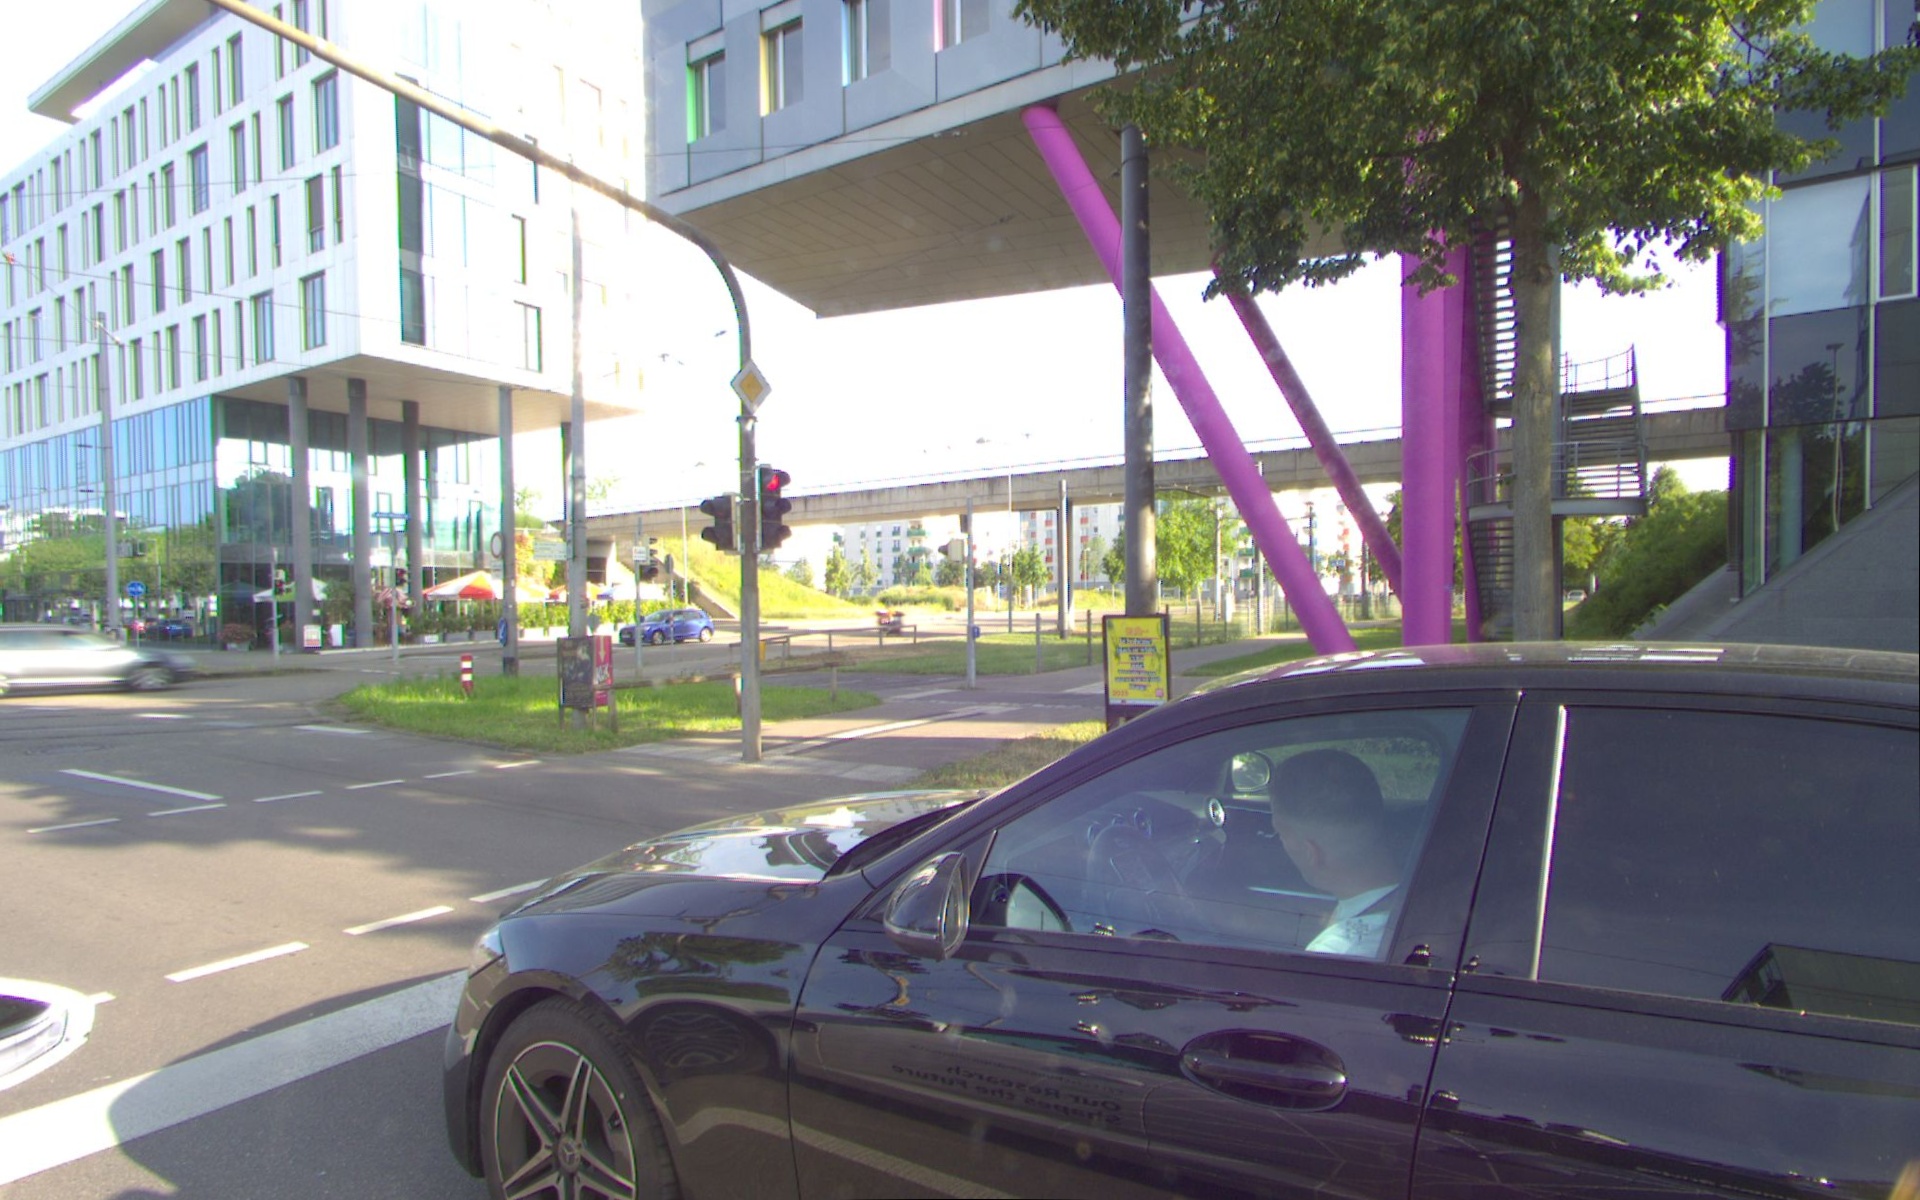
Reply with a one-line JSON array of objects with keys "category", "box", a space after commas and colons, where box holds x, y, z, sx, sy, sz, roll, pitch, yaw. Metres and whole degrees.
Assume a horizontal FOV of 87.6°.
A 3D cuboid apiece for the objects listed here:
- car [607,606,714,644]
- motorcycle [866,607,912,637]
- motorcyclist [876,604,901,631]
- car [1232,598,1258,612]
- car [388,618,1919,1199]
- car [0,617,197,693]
[{"category": "car", "box": [-12.474, 0.990, 41.950, 1.832, 1.443, 4.176, 0, 1, 31]}, {"category": "motorcycle", "box": [-3.289, 1.026, 46.830, 0.809, 1.280, 2.535, 0, 2, 32]}, {"category": "motorcyclist", "box": [-3.342, 0.821, 46.769, 0.773, 1.218, 0.843, 0, -1, 32]}, {"category": "car", "box": [30.958, 0.553, 108.942, 1.823, 1.443, 4.197, -1, 0, 3]}, {"category": "car", "box": [0.850, 0.796, 2.136, 4.493, 1.469, 1.834, 0, -1, 34]}, {"category": "car", "box": [-18.693, 1.102, 20.595, 1.714, 1.480, 4.539, -1, -2, 40]}]
